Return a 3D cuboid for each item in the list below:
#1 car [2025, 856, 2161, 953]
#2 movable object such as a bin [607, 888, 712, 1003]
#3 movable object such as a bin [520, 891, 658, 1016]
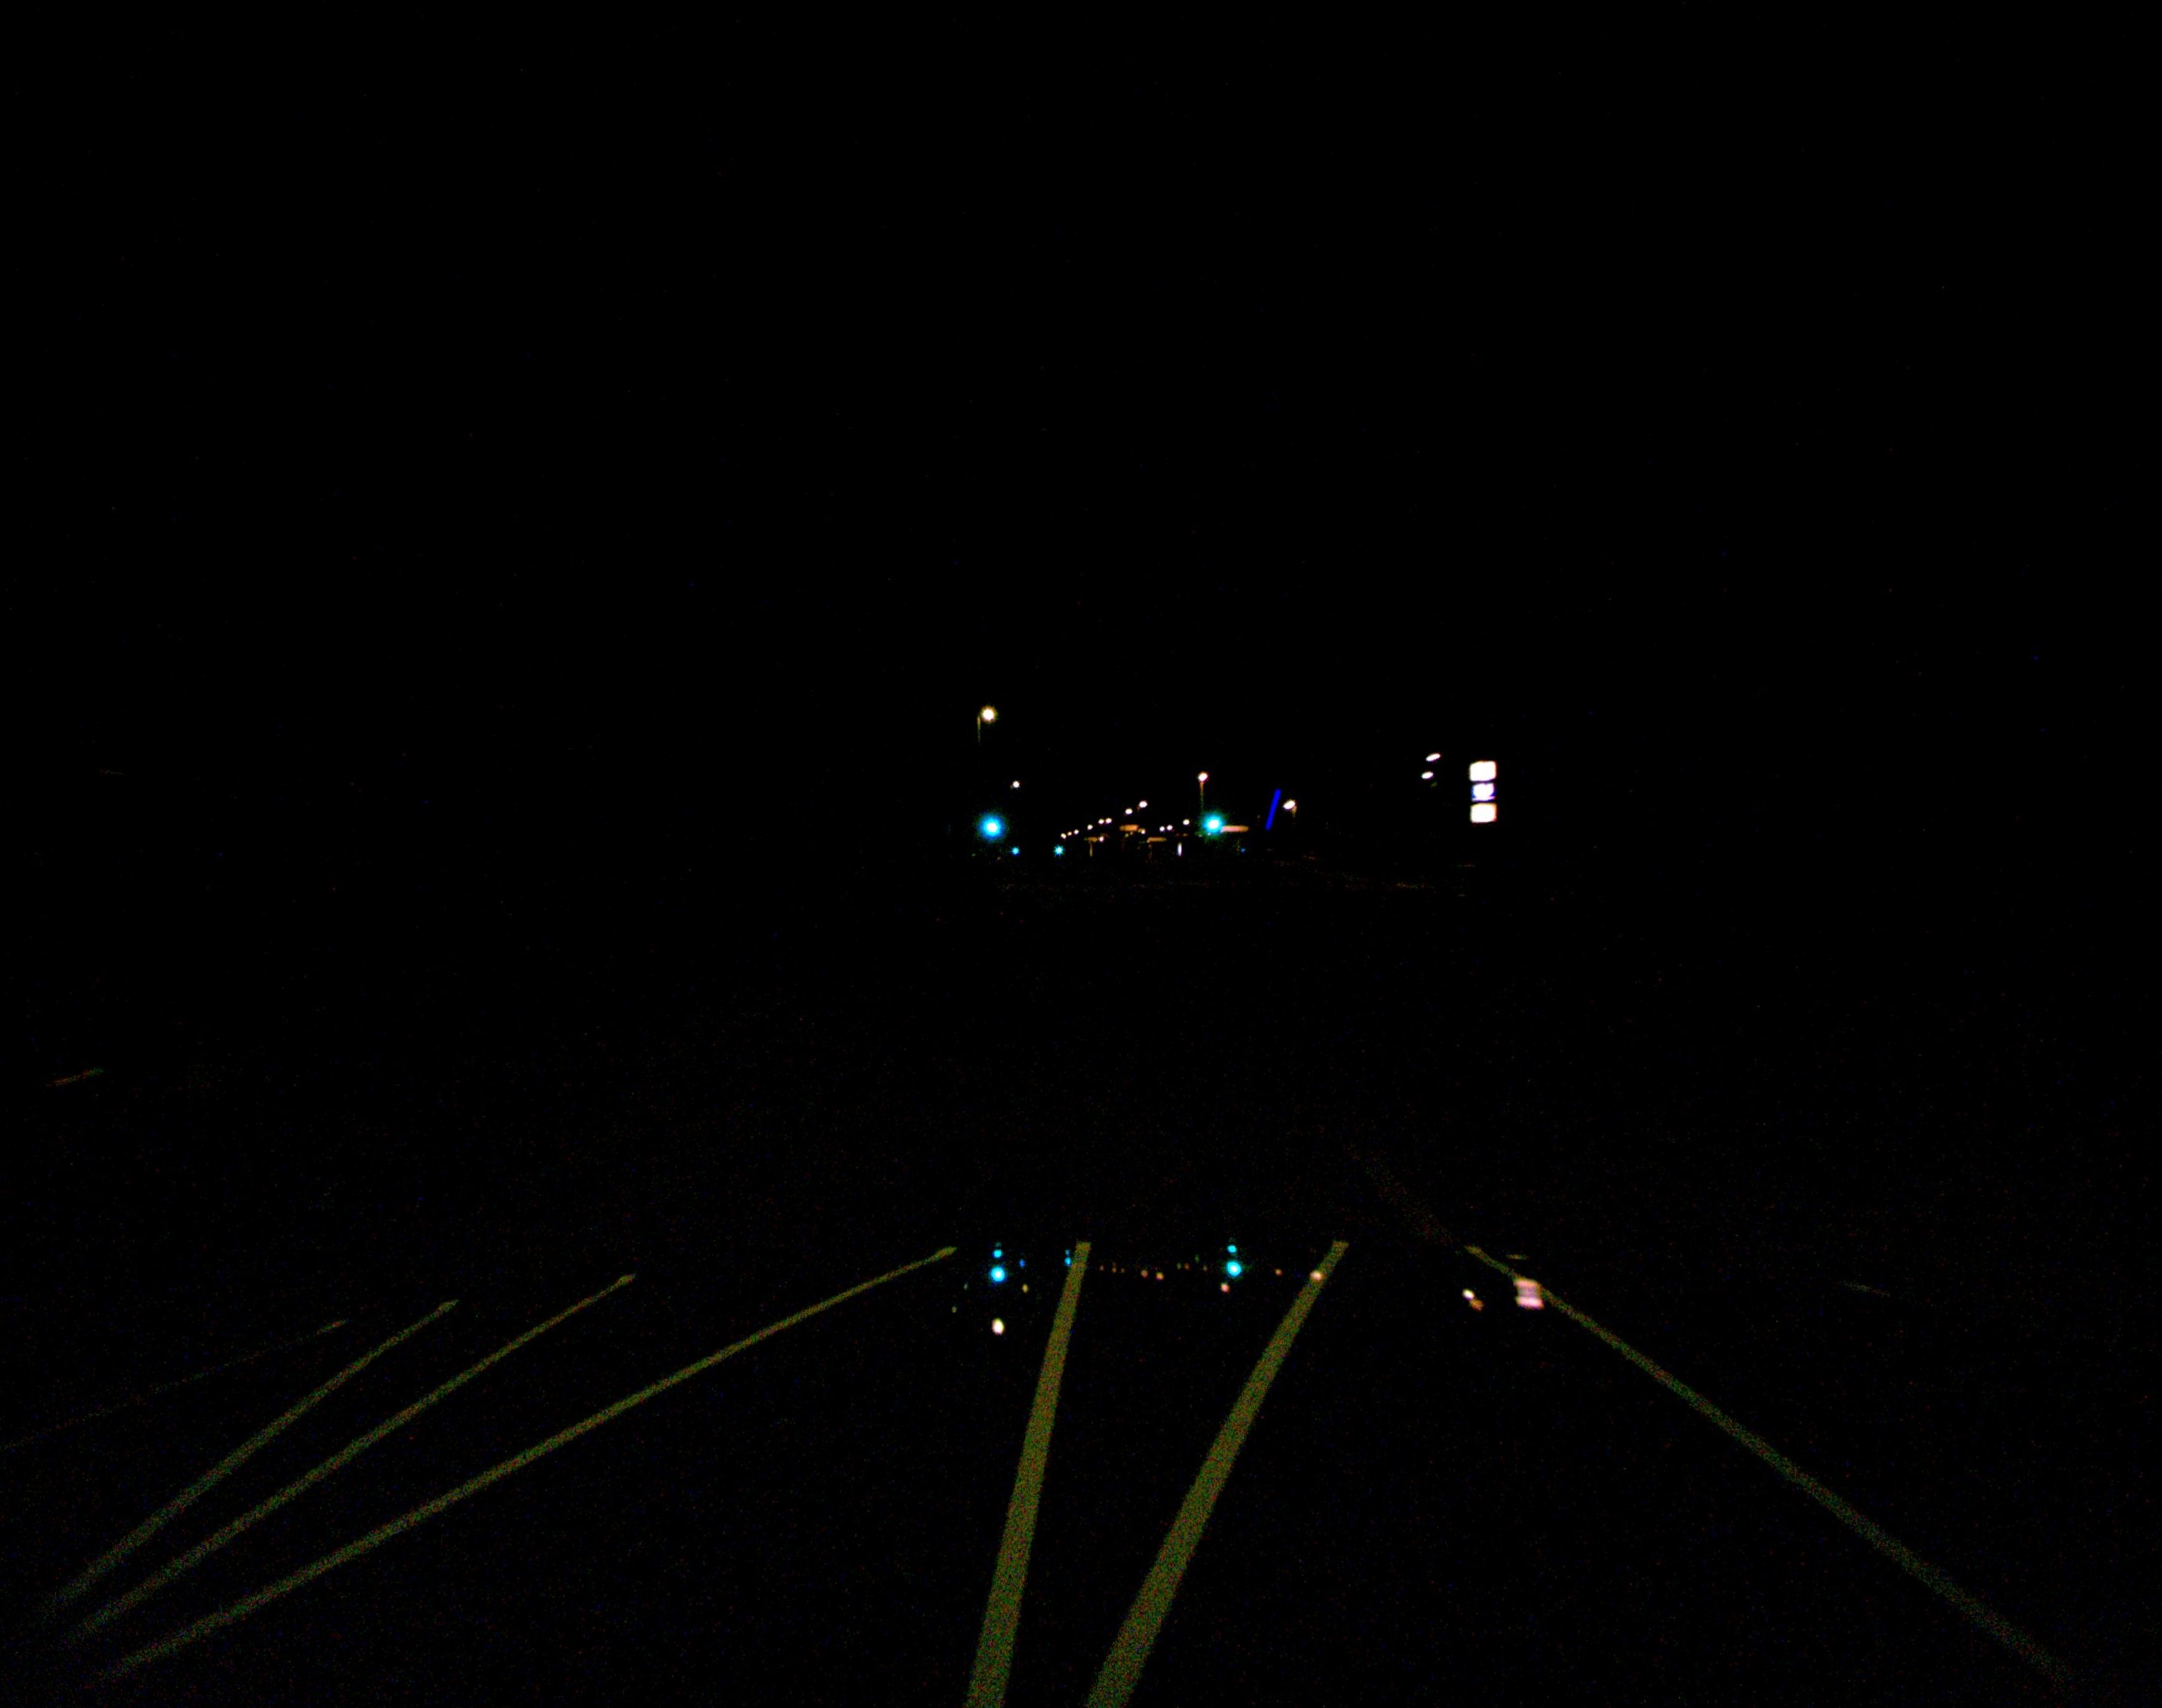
[{"bbox_3d":[15.888,0.763,9.827,1.650,1.332,4.542,4,0,0],"label":"car"},{"bbox_3d":[-4.698,0.998,8.509,0.725,1.194,0.720,0,1,8],"label":"movable object such as a bin"},{"bbox_3d":[-4.861,0.953,7.566,0.724,1.115,0.894,0,1,8],"label":"movable object such as a bin"}]
